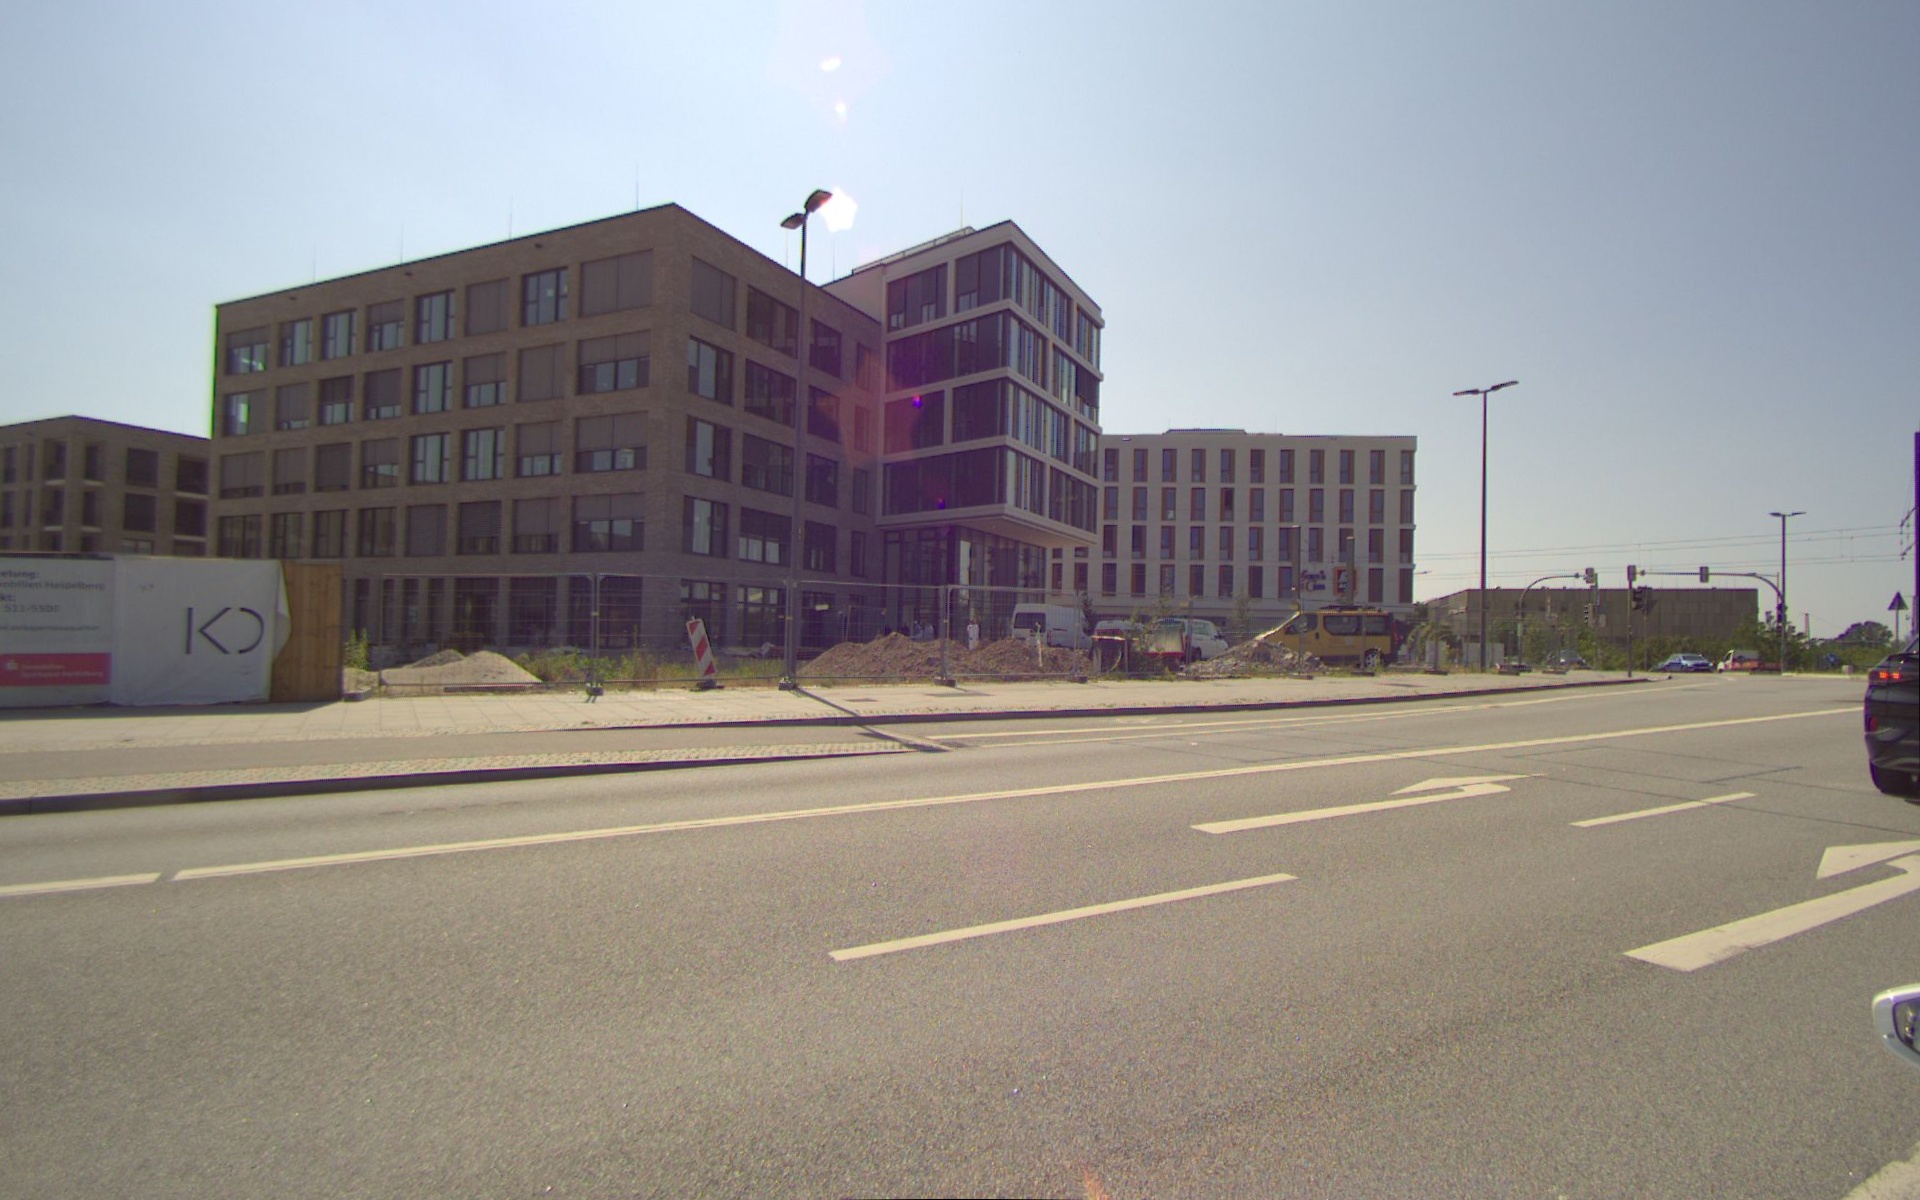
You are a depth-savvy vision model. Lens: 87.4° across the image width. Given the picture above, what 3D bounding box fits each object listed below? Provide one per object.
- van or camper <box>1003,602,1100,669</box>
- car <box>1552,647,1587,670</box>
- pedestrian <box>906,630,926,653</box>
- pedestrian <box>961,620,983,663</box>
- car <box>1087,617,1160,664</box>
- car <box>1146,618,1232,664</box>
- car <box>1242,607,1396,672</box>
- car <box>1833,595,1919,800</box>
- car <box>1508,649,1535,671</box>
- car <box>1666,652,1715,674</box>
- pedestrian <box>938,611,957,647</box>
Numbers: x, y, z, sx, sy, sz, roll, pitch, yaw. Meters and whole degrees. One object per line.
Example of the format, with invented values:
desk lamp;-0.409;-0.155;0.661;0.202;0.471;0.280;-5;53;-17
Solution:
van or camper;4.177;1.544;45.138;2.273;2.772;4.975;2;0;32
car;44.381;4.231;73.174;1.646;1.496;3.405;0;-1;22
pedestrian;-2.059;1.943;47.427;0.734;1.041;0.699;2;0;16
pedestrian;0.511;1.740;42.391;0.734;1.741;0.699;2;0;16
car;7.143;1.708;43.659;1.759;1.881;3.842;2;0;31
car;9.672;1.681;42.172;1.841;1.797;4.637;2;0;36
car;11.964;1.286;33.728;4.533;1.988;1.991;2;0;9
car;9.830;0.859;8.957;4.315;1.663;1.793;2;0;-30
car;46.816;4.958;83.828;1.541;1.608;3.477;2;0;23
car;52.262;4.487;71.913;1.787;1.348;4.000;2;-2;20
pedestrian;-0.616;1.404;48.941;0.734;1.741;0.699;2;0;16
